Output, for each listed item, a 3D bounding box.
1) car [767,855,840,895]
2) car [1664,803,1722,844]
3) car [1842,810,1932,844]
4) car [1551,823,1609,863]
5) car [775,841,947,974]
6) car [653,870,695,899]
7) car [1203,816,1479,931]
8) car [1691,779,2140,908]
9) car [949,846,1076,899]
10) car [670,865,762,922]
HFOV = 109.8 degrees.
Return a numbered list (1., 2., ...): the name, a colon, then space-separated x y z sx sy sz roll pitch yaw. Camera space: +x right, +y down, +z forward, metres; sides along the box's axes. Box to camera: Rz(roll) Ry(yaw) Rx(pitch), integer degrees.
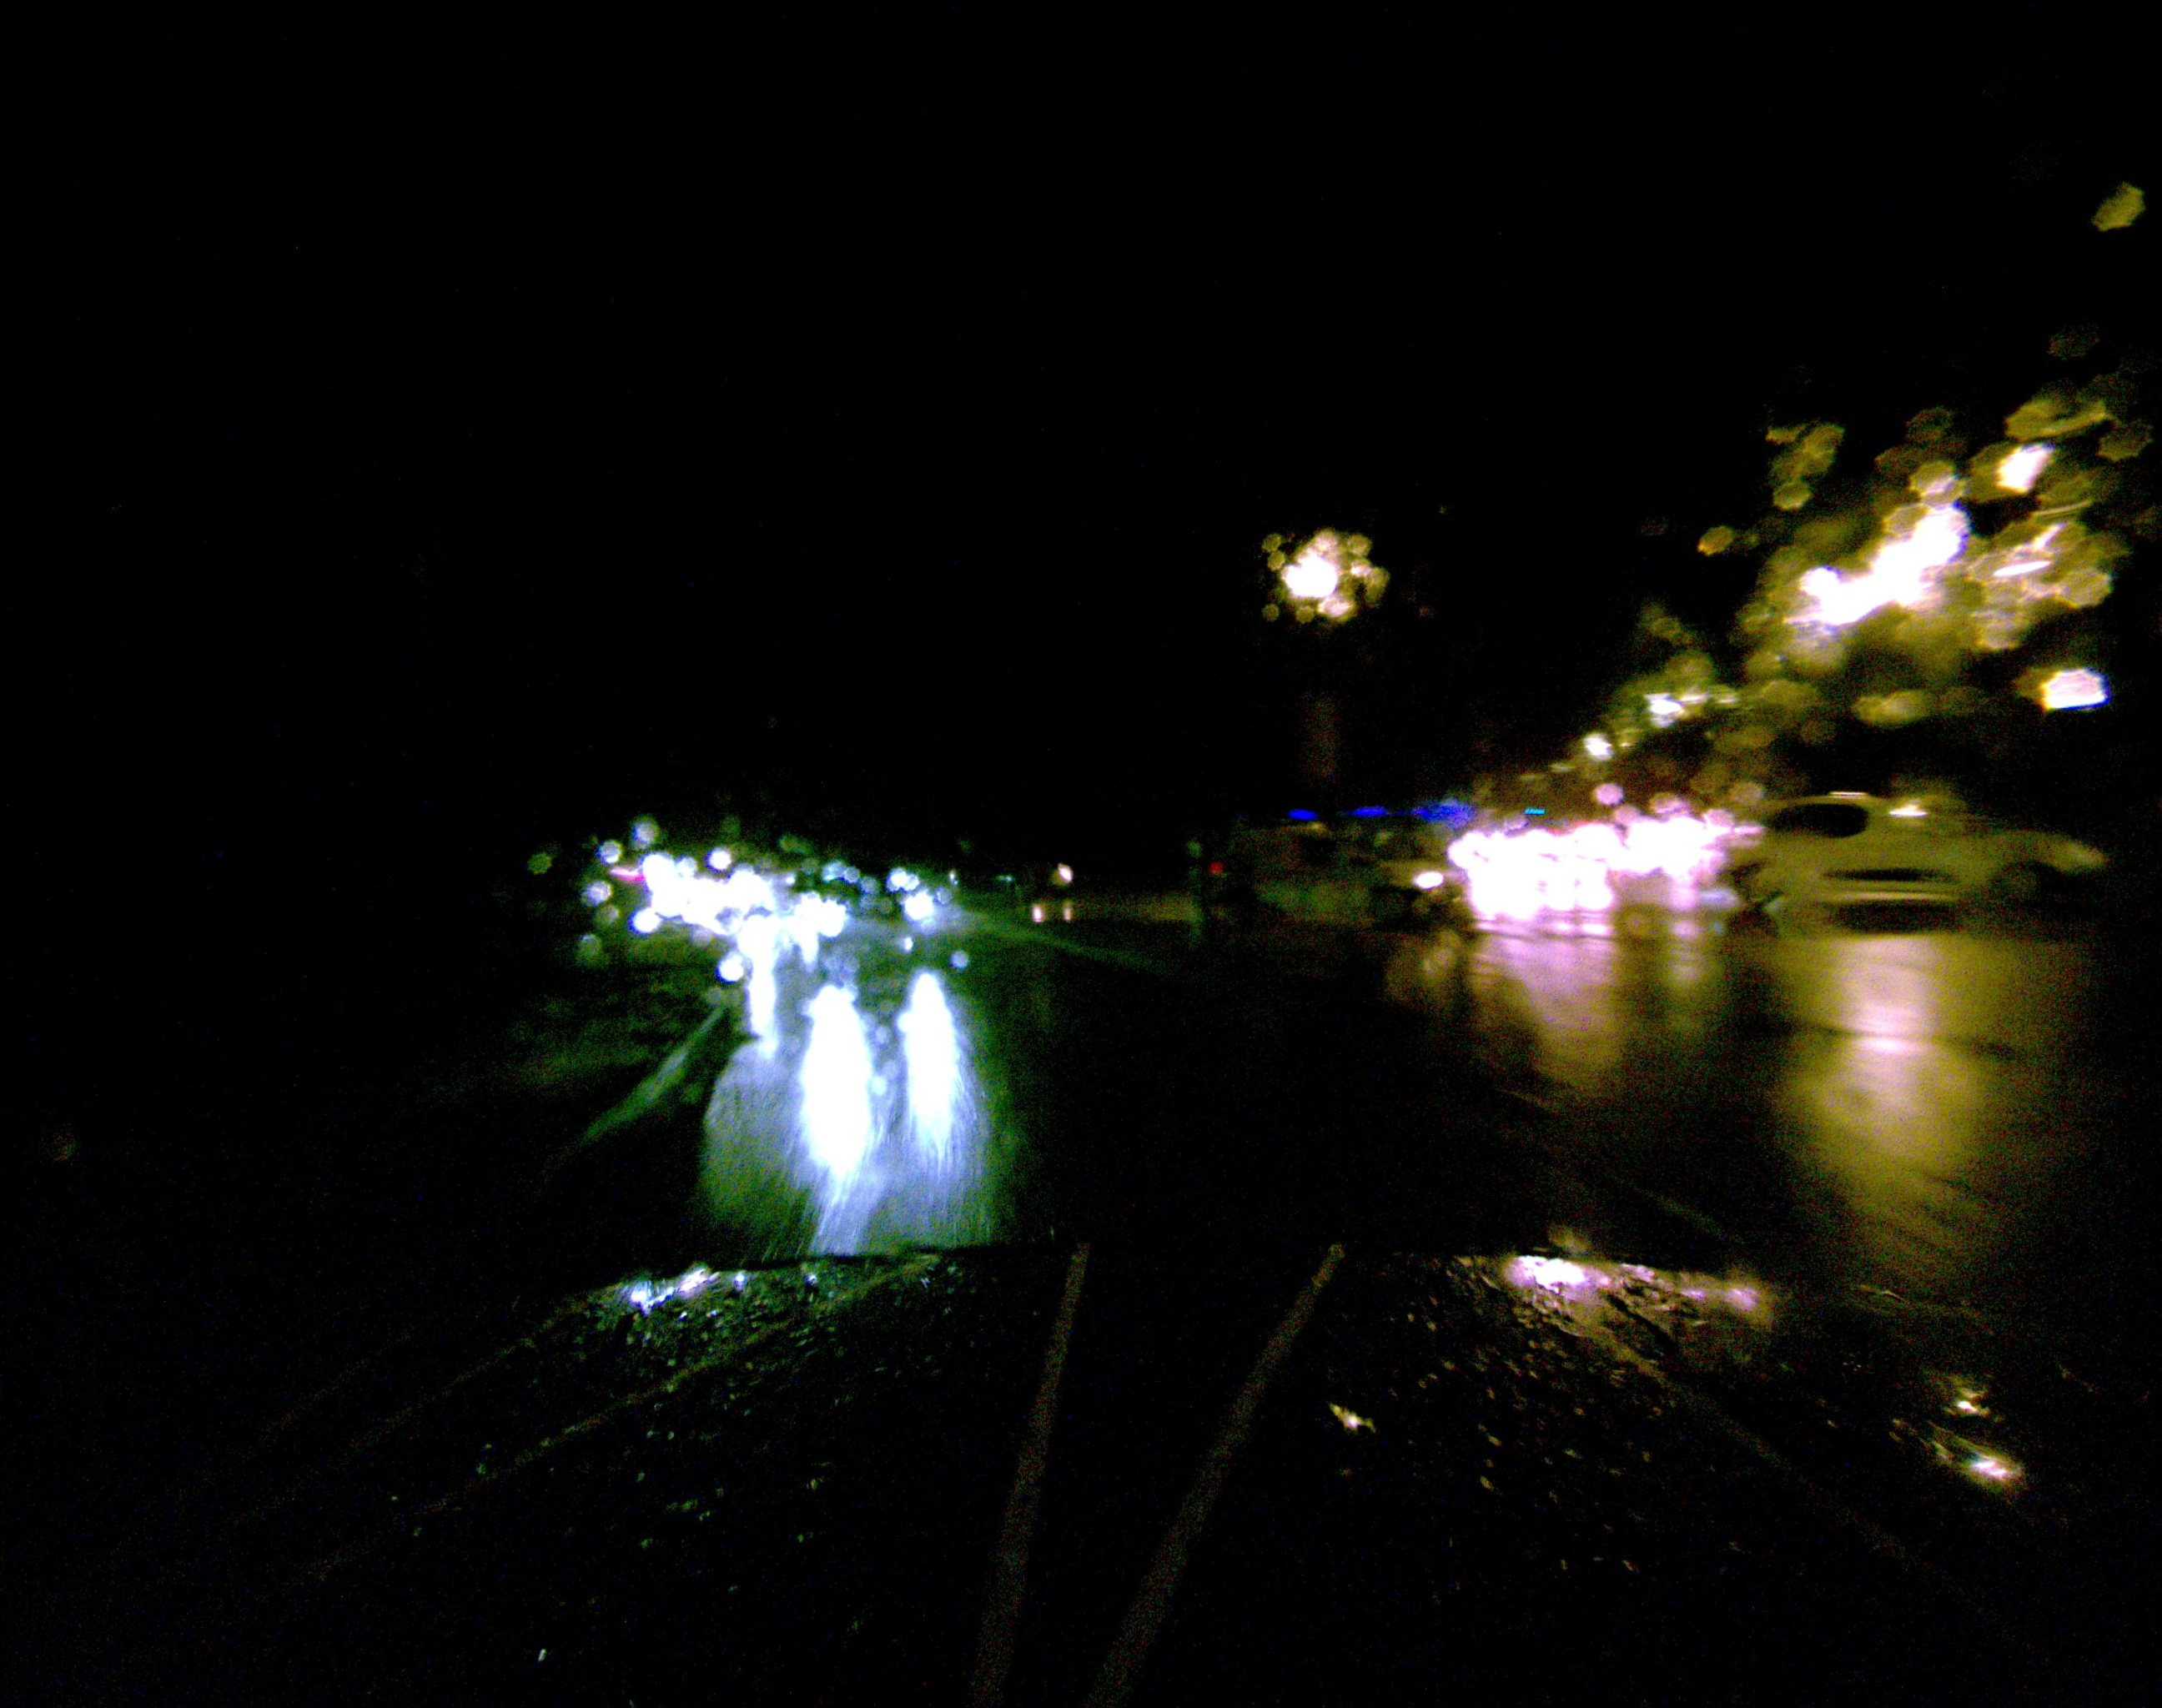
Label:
1. car: -13.215 0.975 36.043 1.852 1.696 4.118 -4 1 -41
2. car: 33.818 -1.716 42.090 1.789 2.013 4.152 -2 3 29
3. car: 41.260 -1.411 39.009 1.832 1.466 4.042 -3 3 26
4. car: 24.206 -0.569 37.000 1.954 1.624 4.265 -2 3 29
5. car: -4.179 0.802 13.894 2.007 1.915 4.359 -5 2 -29
6. car: -23.213 1.736 43.249 1.683 1.437 4.166 -5 1 -32
7. car: 4.801 0.343 14.331 4.545 1.821 1.786 -2 3 36
8. car: 13.432 -0.110 12.799 4.709 1.783 2.003 -3 2 33
9. car: -2.332 0.648 24.957 4.226 1.585 1.793 -3 -3 44
10. car: -11.934 1.269 24.738 1.691 1.524 3.978 -7 2 -39
